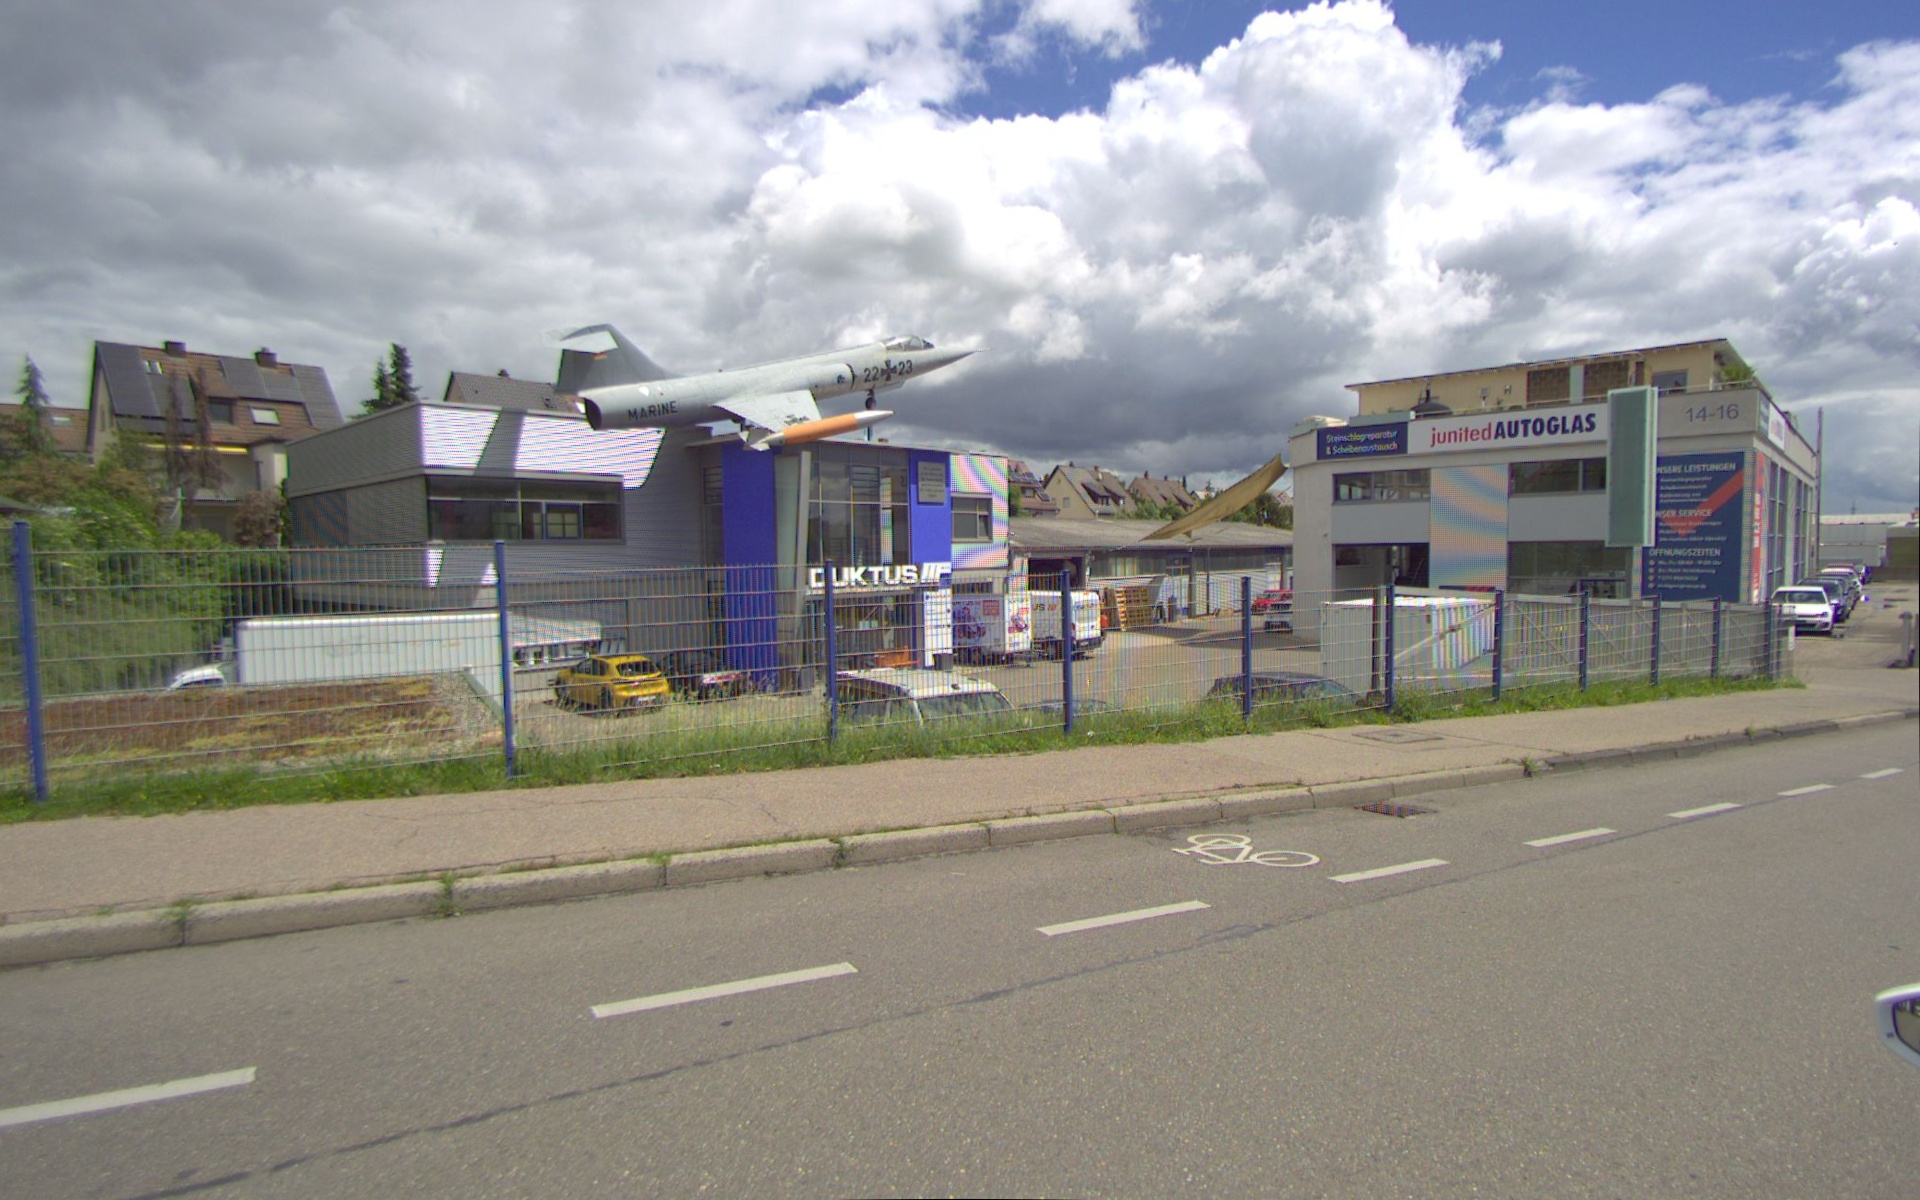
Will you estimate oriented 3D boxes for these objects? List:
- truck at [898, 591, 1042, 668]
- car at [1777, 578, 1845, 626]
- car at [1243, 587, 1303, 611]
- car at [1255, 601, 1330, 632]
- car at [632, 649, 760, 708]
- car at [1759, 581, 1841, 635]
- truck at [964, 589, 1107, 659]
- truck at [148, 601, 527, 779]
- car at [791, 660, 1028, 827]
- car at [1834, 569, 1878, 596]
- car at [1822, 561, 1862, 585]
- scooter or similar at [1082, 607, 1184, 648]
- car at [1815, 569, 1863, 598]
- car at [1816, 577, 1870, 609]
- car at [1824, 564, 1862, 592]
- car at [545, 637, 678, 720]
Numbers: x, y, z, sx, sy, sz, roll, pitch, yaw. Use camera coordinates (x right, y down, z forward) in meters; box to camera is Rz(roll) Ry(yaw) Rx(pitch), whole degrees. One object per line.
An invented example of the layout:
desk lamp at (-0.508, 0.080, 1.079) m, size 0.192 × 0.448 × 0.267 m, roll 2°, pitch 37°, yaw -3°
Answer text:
truck at (0.273, 1.074, 38.601) m, size 2.163 × 2.742 × 5.725 m, roll 1°, pitch -1°, yaw -44°
car at (31.407, 0.100, 37.046) m, size 1.678 × 1.651 × 3.695 m, roll 0°, pitch -1°, yaw 44°
car at (18.942, -0.053, 60.763) m, size 1.971 × 1.372 × 3.978 m, roll 2°, pitch 1°, yaw 42°
car at (15.996, 0.780, 48.260) m, size 1.971 × 1.372 × 3.978 m, roll 2°, pitch 1°, yaw 42°
car at (-7.743, 2.233, 29.320) m, size 3.946 × 1.316 × 1.865 m, roll 0°, pitch 2°, yaw 45°
car at (27.951, 0.273, 33.383) m, size 1.828 × 1.672 × 3.975 m, roll 0°, pitch -1°, yaw 44°
truck at (2.915, 0.910, 39.989) m, size 2.192 × 2.609 × 5.725 m, roll 1°, pitch -1°, yaw -44°
truck at (-11.584, 1.543, 19.237) m, size 5.813 × 2.912 × 2.445 m, roll 1°, pitch 1°, yaw -30°
car at (-0.921, 2.072, 15.832) m, size 1.979 × 2.040 × 3.962 m, roll 1°, pitch -1°, yaw -34°
car at (48.413, -0.918, 54.257) m, size 1.653 × 1.341 × 3.695 m, roll 0°, pitch -1°, yaw 44°
car at (53.971, -1.634, 61.471) m, size 1.653 × 1.341 × 3.695 m, roll 0°, pitch -1°, yaw 44°
scooter or similar at (7.471, 1.156, 43.513) m, size 3.937 × 1.684 × 1.992 m, roll 0°, pitch -1°, yaw 37°
car at (44.603, -0.831, 50.929) m, size 1.653 × 1.341 × 3.695 m, roll 0°, pitch -1°, yaw 44°
car at (40.220, -0.302, 45.729) m, size 1.653 × 1.341 × 3.695 m, roll 0°, pitch -1°, yaw 44°
car at (59.675, -1.495, 67.894) m, size 1.684 × 1.753 × 3.495 m, roll 5°, pitch 4°, yaw 44°
car at (-9.611, 2.079, 27.595) m, size 3.945 × 1.551 × 1.865 m, roll 6°, pitch 9°, yaw 44°
